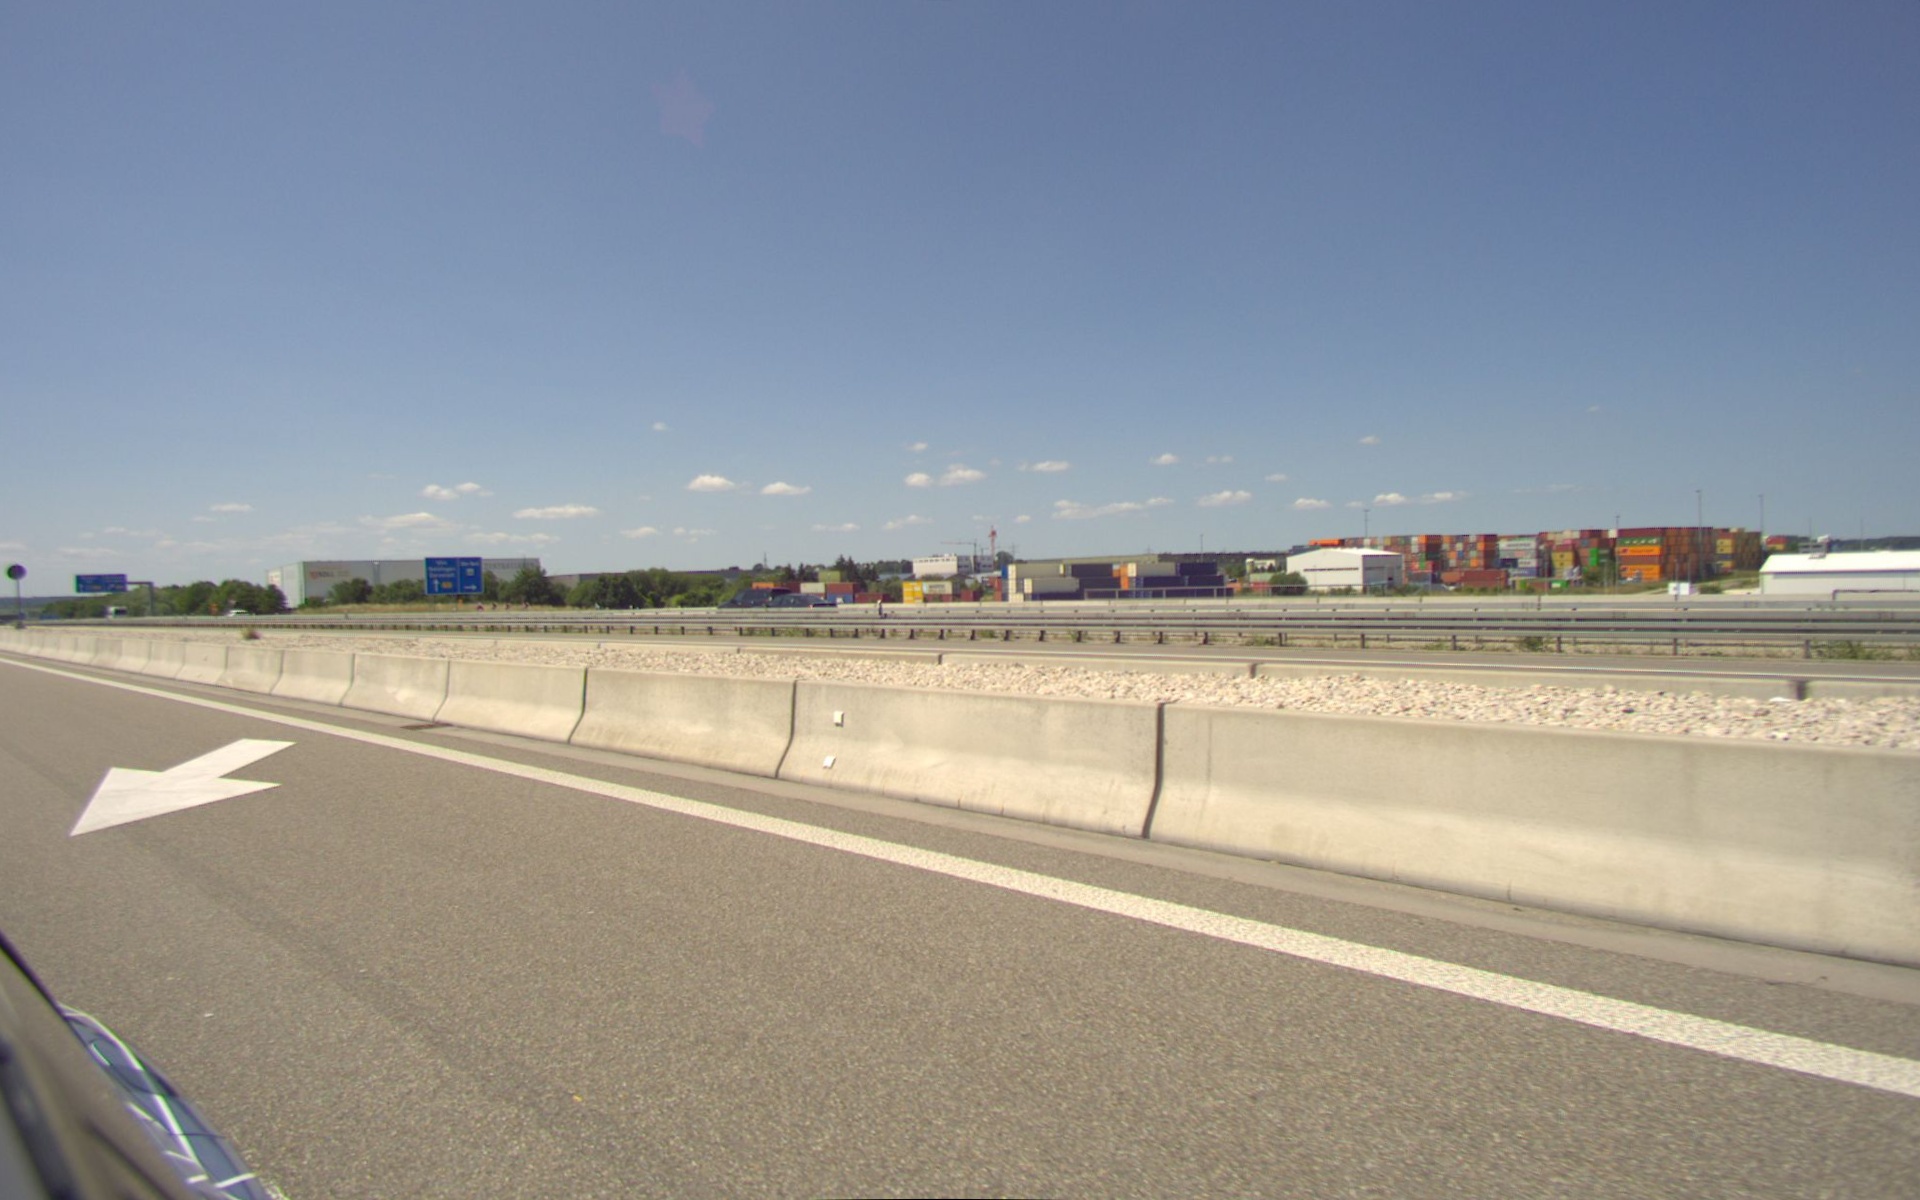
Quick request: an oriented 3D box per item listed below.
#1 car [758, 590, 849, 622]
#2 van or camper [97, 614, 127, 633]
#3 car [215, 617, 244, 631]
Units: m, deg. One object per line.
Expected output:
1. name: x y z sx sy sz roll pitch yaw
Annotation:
1. car: -7.397 0.283 47.572 4.362 1.390 1.972 -2 0 43
2. van or camper: -133.718 3.710 159.620 7.539 2.843 2.519 -2 0 41
3. car: -76.011 2.469 105.231 4.361 1.390 1.547 -2 0 42
